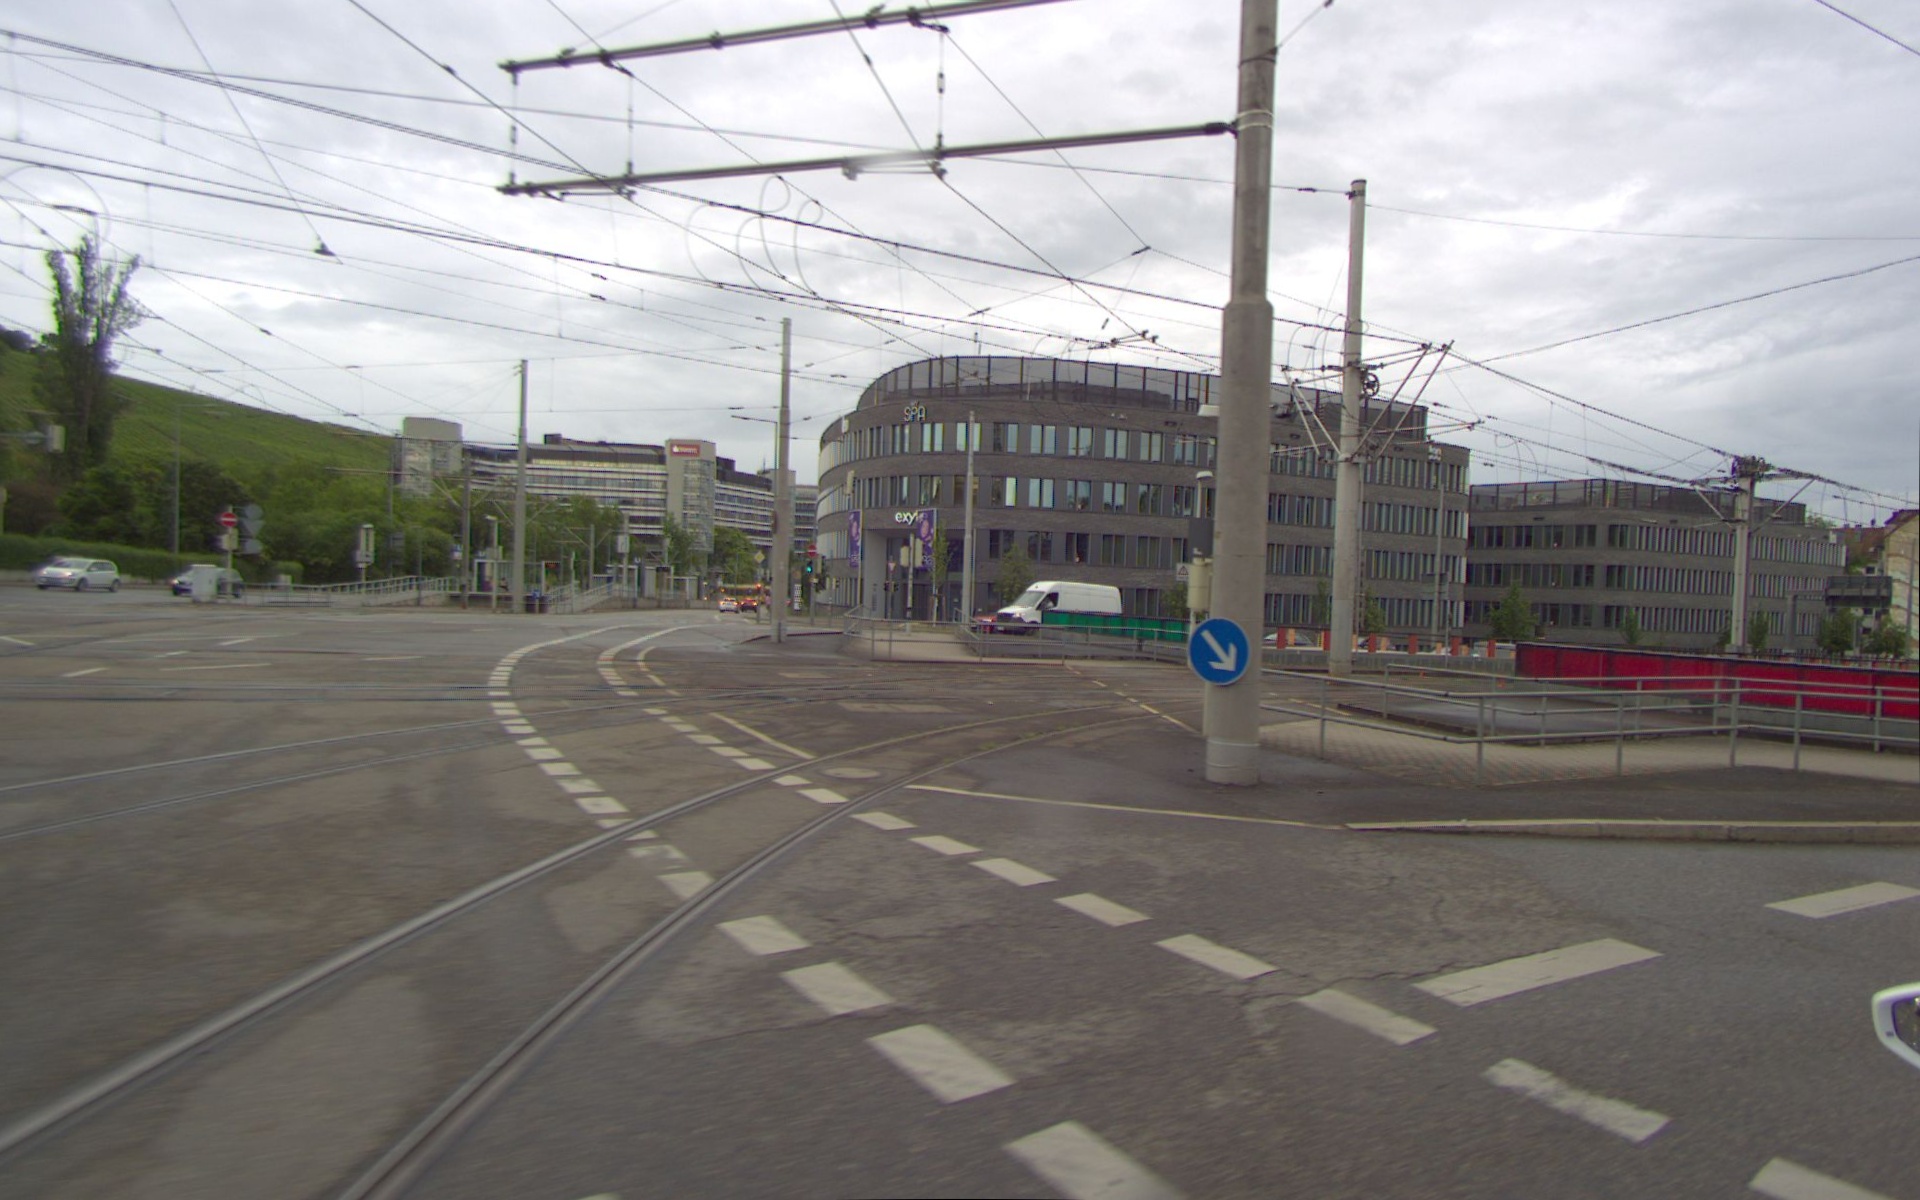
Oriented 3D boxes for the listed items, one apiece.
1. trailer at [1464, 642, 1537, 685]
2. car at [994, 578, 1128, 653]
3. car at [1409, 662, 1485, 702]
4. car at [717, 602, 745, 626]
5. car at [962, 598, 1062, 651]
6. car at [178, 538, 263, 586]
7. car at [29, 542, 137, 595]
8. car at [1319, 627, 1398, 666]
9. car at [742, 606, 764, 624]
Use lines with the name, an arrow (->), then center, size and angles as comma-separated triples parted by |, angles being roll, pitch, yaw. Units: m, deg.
trailer -> 32.454, 3.801, 60.302 | 4.229, 2.100, 1.816 | 7, -2, -31
car -> 4.420, 0.719, 43.725 | 5.652, 2.868, 1.984 | 4, -3, -30
car -> 27.796, 4.680, 57.277 | 4.229, 1.771, 1.816 | 8, -2, -31
car -> -22.511, 1.406, 98.957 | 1.963, 2.039, 3.997 | 6, -2, -5
car -> 2.424, 1.139, 46.659 | 4.199, 2.181, 1.984 | 4, -1, -30
car -> -36.898, -1.835, 50.236 | 1.968, 2.040, 3.987 | 5, -1, -16
car -> -39.830, -1.389, 45.769 | 1.968, 2.039, 3.987 | 7, -2, -16
car -> 21.295, 2.469, 53.613 | 3.786, 1.605, 1.817 | 7, -2, -28
car -> -24.908, 1.827, 120.874 | 1.963, 1.839, 3.997 | 6, -2, -5
